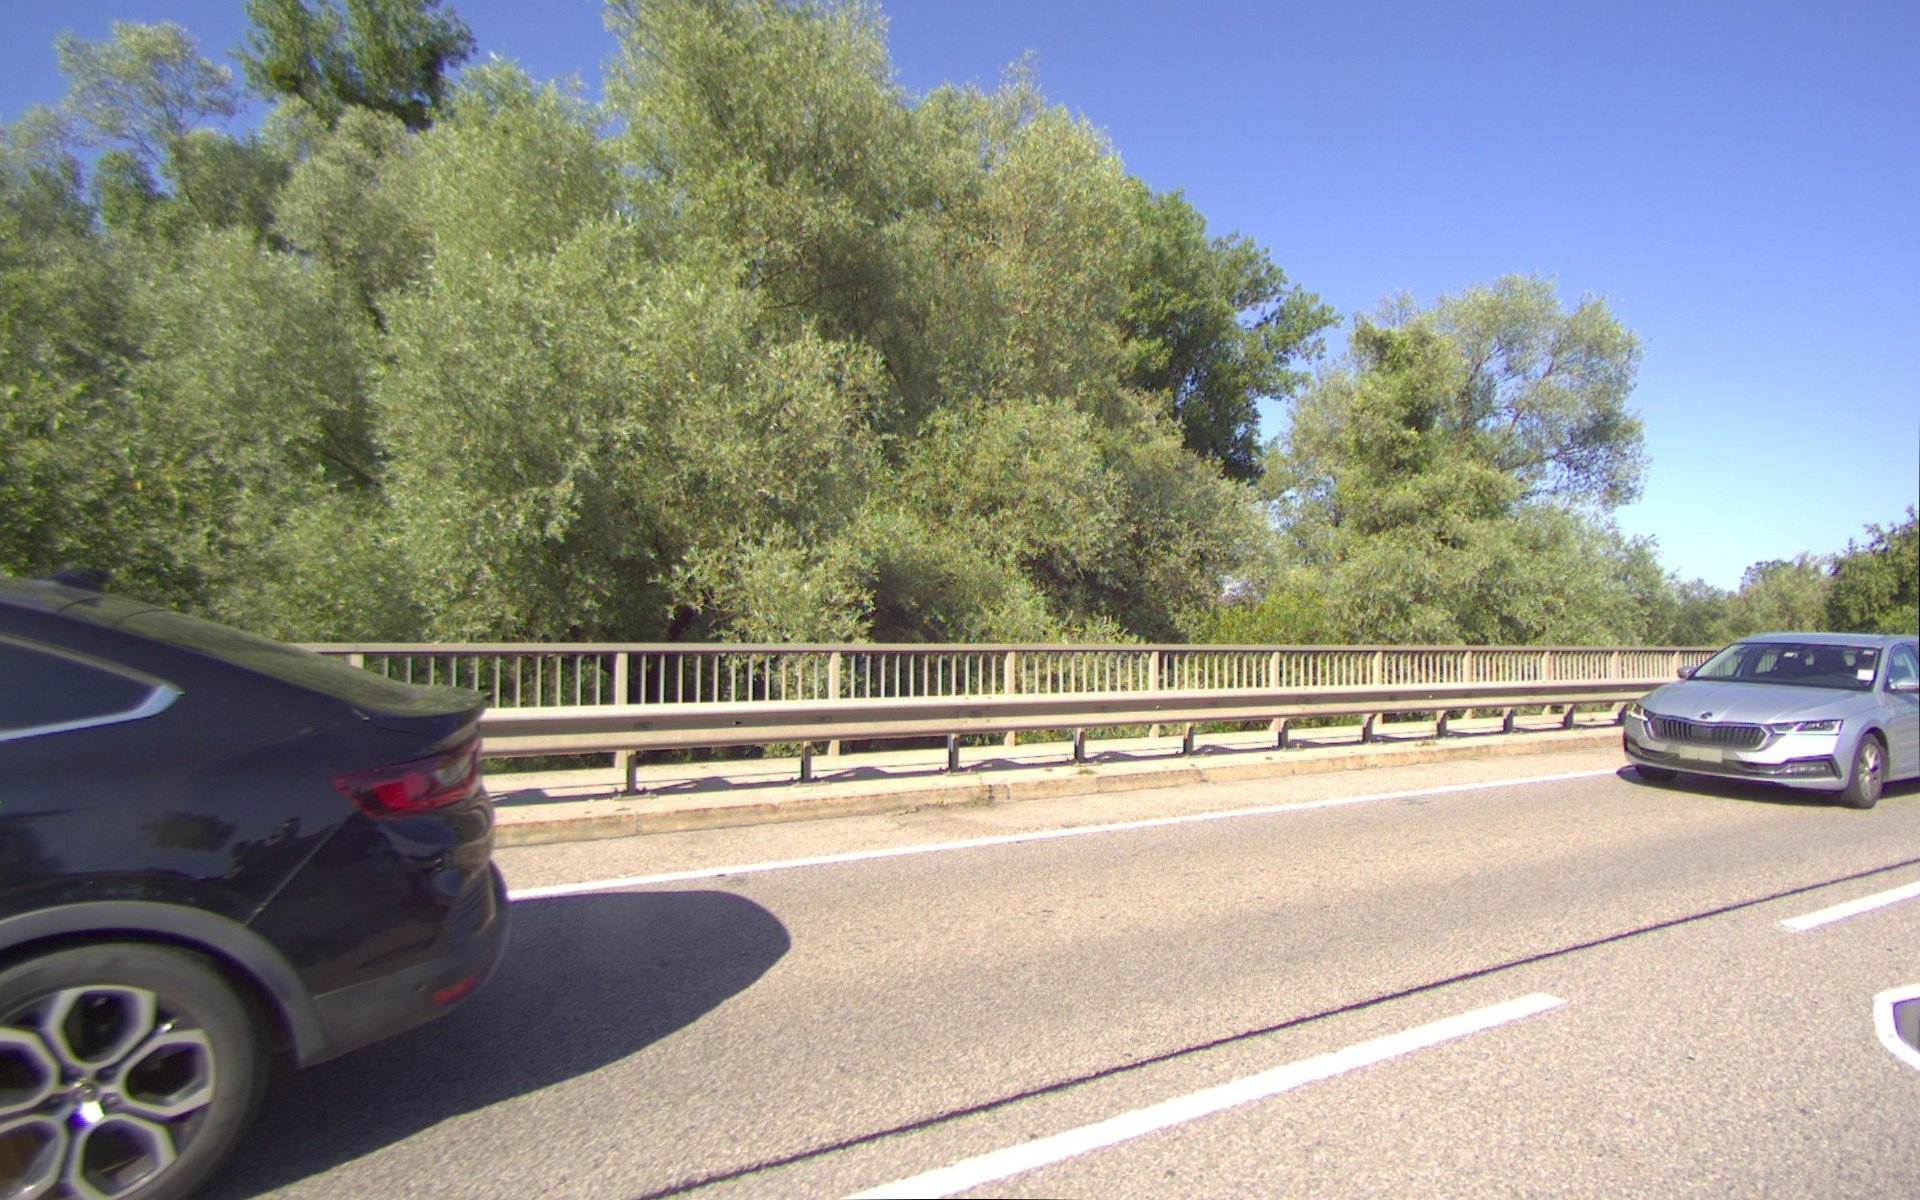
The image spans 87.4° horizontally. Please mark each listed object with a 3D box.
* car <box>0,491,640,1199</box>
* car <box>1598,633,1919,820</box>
[{"bbox_3d":[-3.291,0.673,2.455,4.476,1.830,1.959,2,-1,-29],"label":"car"},{"bbox_3d":[8.352,1.092,9.800,4.433,1.455,1.724,2,-2,-29],"label":"car"}]
